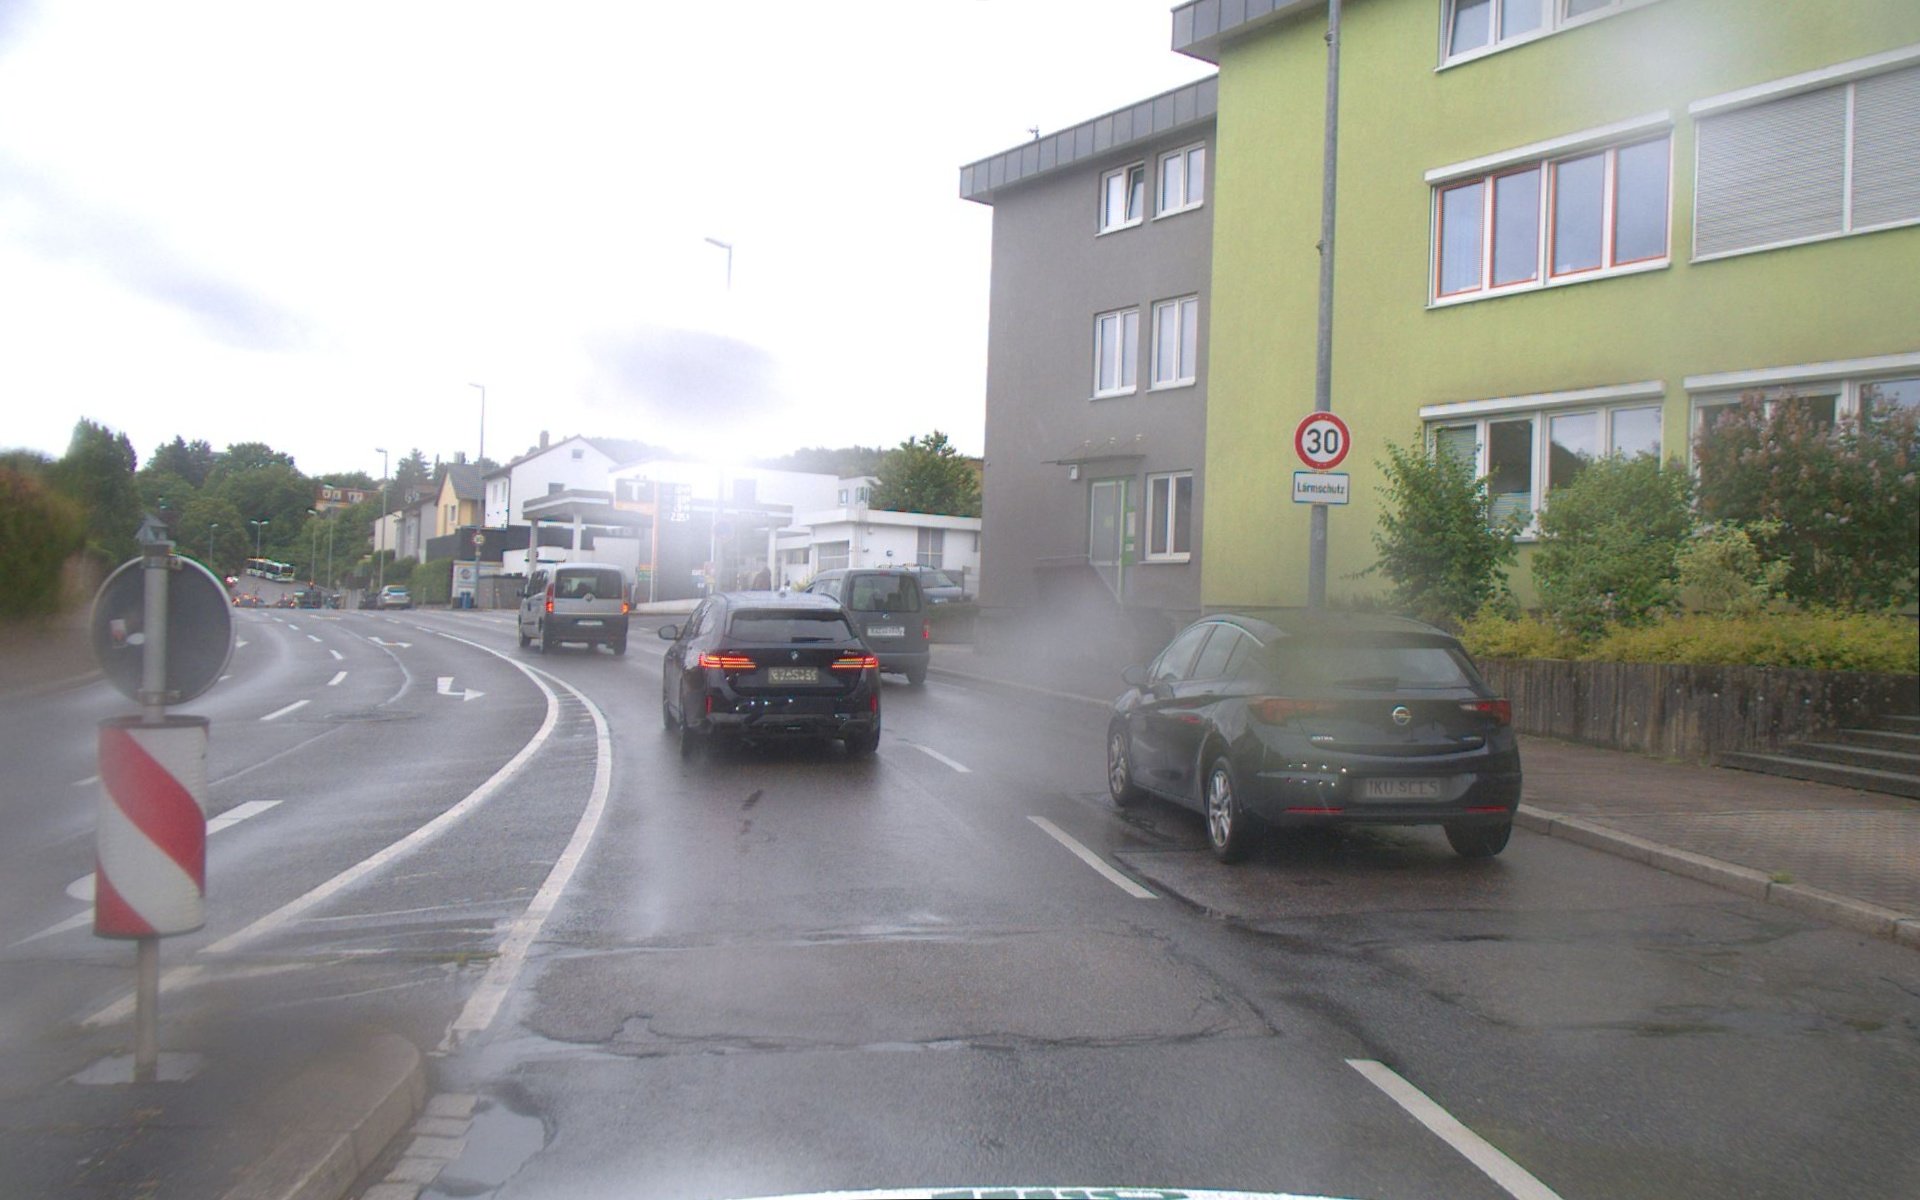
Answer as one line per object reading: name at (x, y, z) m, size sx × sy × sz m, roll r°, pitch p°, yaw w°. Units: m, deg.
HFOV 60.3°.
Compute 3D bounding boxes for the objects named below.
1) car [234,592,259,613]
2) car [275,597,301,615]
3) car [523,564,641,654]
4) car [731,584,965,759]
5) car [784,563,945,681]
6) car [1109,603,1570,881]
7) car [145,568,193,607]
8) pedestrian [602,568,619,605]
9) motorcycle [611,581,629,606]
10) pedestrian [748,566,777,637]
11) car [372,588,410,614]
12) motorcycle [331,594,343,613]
car at (-64.782, 0.267, 150.280) m, size 1.966 × 1.771 × 3.972 m, roll 2°, pitch -2°, yaw -22°
car at (-67.392, 0.612, 165.935) m, size 1.971 × 1.771 × 3.962 m, roll 2°, pitch -2°, yaw -28°
car at (-8.123, 0.223, 35.272) m, size 1.964 × 1.768 × 3.976 m, roll 2°, pitch -2°, yaw -20°
car at (-1.250, 0.683, 16.582) m, size 1.957 × 1.510 × 3.991 m, roll 1°, pitch -2°, yaw -9°
car at (-1.679, 0.393, 27.835) m, size 1.809 × 1.798 × 3.981 m, roll 2°, pitch -2°, yaw -17°
car at (2.262, 0.787, 11.003) m, size 1.723 × 1.475 × 3.994 m, roll 1°, pitch 0°, yaw -7°
car at (-32.965, -0.493, 68.987) m, size 1.728 × 1.465 × 4.096 m, roll 2°, pitch -2°, yaw -25°
pedestrian at (-16.030, -0.615, 75.916) m, size 0.602 × 1.685 × 0.580 m, roll 2°, pitch -2°, yaw -26°
motorcycle at (-15.599, -0.293, 75.899) m, size 0.457 × 1.074 × 1.379 m, roll 2°, pitch -2°, yaw -26°
pedestrian at (-5.862, 0.052, 49.009) m, size 0.704 × 2.049 × 0.611 m, roll 2°, pitch -2°, yaw -17°
car at (-36.005, 0.059, 104.604) m, size 1.680 × 1.536 × 4.495 m, roll 2°, pitch -2°, yaw -26°
motorcycle at (-51.312, 0.306, 136.204) m, size 0.694 × 1.536 × 2.132 m, roll -1°, pitch 0°, yaw -26°
